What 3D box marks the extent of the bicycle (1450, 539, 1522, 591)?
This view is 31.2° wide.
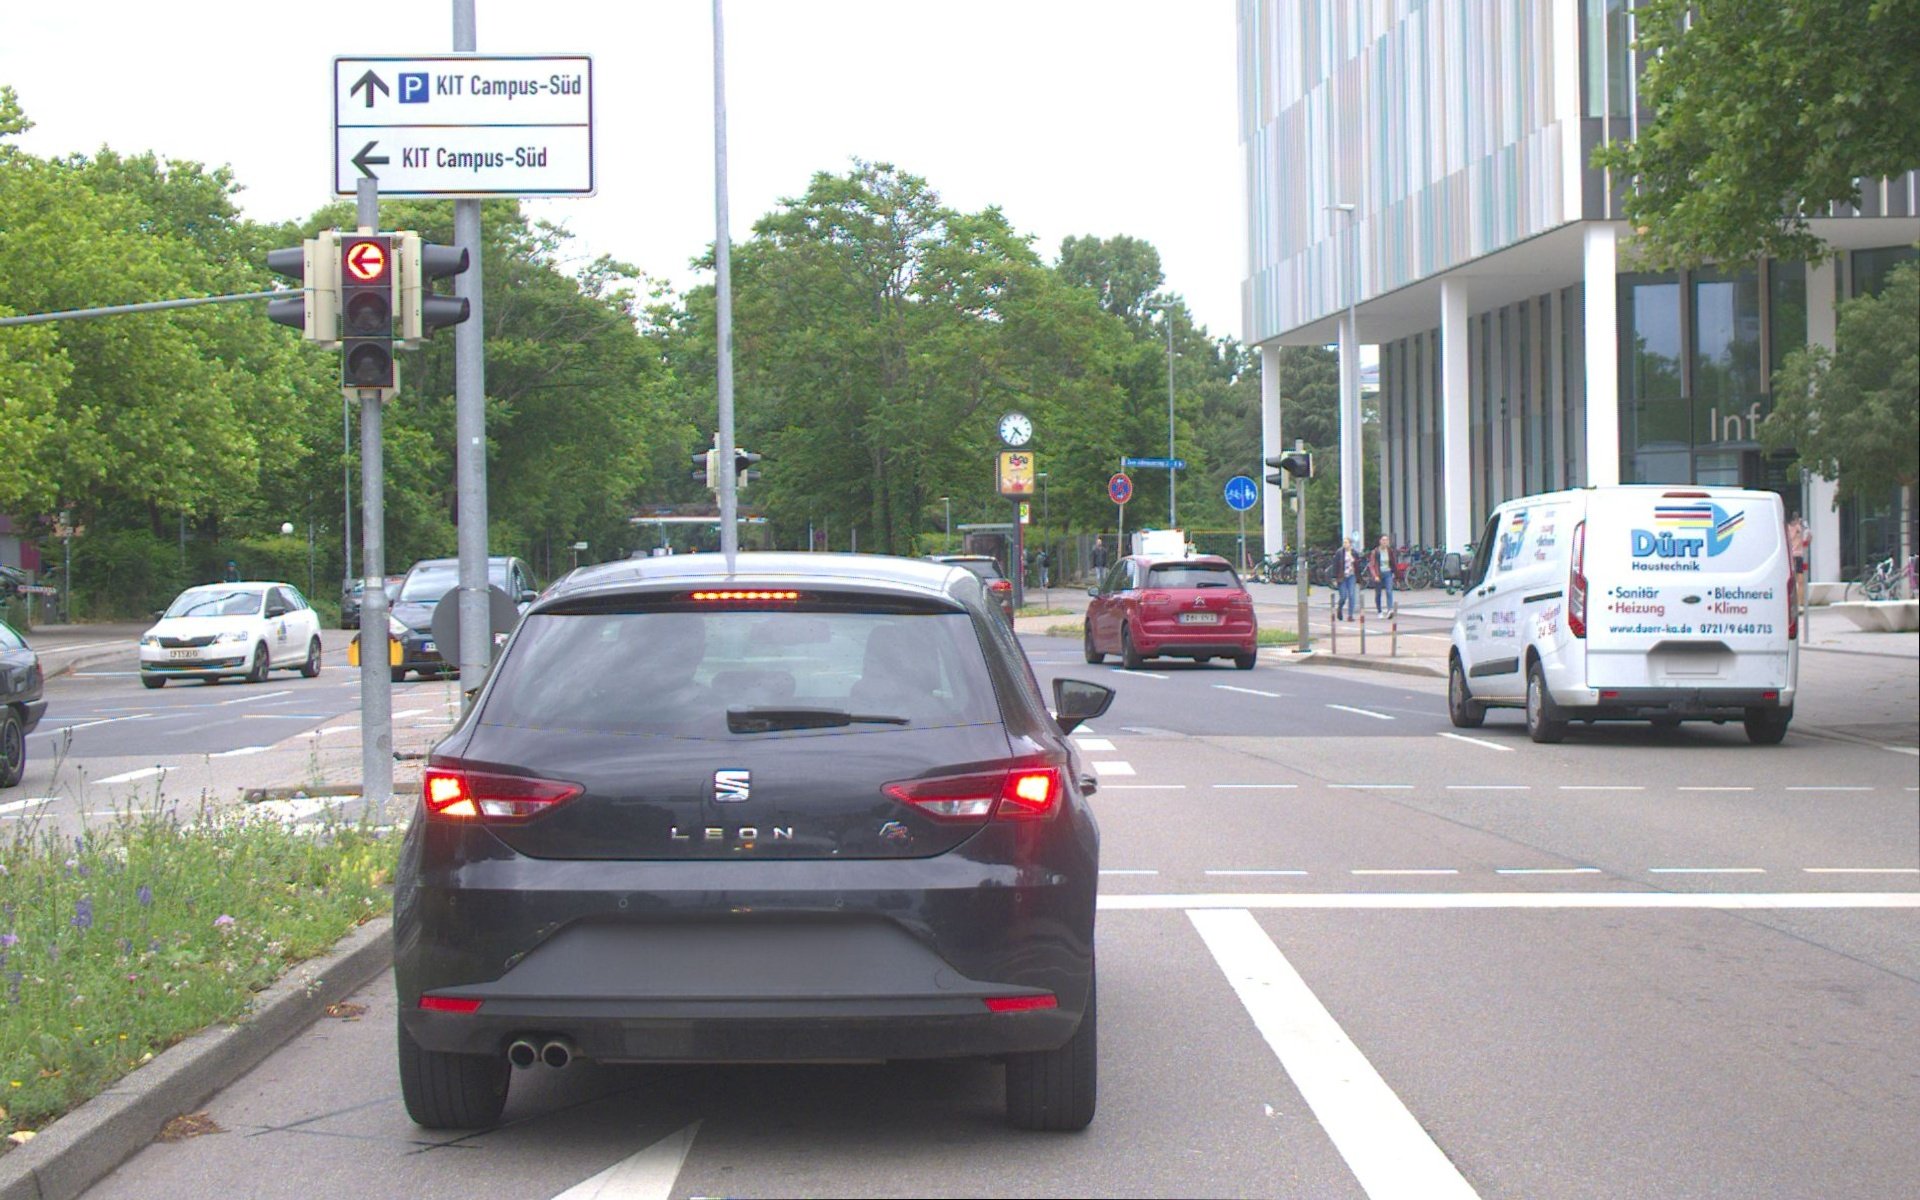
[{"bbox_3d":[12.901,-0.853,84.285,1.772,1.207,0.570,-3,1,-34],"label":"bicycle"}]

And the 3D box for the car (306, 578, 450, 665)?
[{"bbox_3d":[-10.574,0.362,62.715,1.714,1.413,4.294,-2,1,2],"label":"car"}]

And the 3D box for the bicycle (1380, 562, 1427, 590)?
[{"bbox_3d":[12.051,-0.654,93.442,1.240,0.703,0.489,-2,1,8],"label":"bicycle"}]

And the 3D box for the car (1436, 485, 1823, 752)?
[{"bbox_3d":[5.285,0.098,27.744,1.966,1.965,4.344,1,1,-4],"label":"car"}]

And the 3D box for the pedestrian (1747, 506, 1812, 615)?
[{"bbox_3d":[13.623,-0.663,57.164,0.847,1.759,0.768,-2,1,0],"label":"pedestrian"}]

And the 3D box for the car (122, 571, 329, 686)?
[{"bbox_3d":[-10.465,0.376,49.300,1.705,1.426,4.227,-2,1,5],"label":"car"}]

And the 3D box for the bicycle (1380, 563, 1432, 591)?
[{"bbox_3d":[12.010,-0.622,92.550,1.375,0.703,0.489,-2,1,8],"label":"bicycle"}]

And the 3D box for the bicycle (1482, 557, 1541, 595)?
[{"bbox_3d":[13.255,-0.575,82.580,1.438,0.855,0.365,-3,1,-27],"label":"bicycle"}]

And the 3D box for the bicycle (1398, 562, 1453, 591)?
[{"bbox_3d":[12.288,-0.627,90.752,1.374,0.703,0.416,-2,1,3],"label":"bicycle"}]

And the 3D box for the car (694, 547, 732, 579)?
[{"bbox_3d":[-12.448,-1.855,173.113,1.695,1.498,4.011,-2,1,-7],"label":"car"}]

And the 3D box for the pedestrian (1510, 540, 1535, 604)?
[{"bbox_3d":[12.317,-0.615,75.283,0.472,1.357,0.445,-2,1,10],"label":"pedestrian"}]

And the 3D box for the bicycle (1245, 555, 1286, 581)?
[{"bbox_3d":[10.280,-1.070,115.596,1.258,0.845,0.482,2,0,-22],"label":"bicycle"}]

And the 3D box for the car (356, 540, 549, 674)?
[{"bbox_3d":[-6.866,0.075,46.926,1.921,1.659,4.399,-3,0,0],"label":"car"}]

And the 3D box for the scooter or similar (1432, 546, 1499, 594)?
[{"bbox_3d":[12.489,-0.734,84.866,1.671,1.103,0.499,-3,1,-32],"label":"scooter or similar"}]

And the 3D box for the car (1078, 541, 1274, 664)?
[{"bbox_3d":[2.984,0.008,48.271,1.948,1.618,3.750,0,2,-9],"label":"car"}]

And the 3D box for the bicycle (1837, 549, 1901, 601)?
[{"bbox_3d":[17.959,-0.491,67.901,0.696,0.943,1.981,-2,2,30],"label":"bicycle"}]

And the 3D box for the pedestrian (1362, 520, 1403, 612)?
[{"bbox_3d":[8.216,-0.666,66.876,0.687,1.775,0.677,-1,1,0],"label":"pedestrian"}]

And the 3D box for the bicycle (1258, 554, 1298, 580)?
[{"bbox_3d":[10.497,-1.085,113.425,1.234,0.820,0.482,1,0,-22],"label":"bicycle"}]

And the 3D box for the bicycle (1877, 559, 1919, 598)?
[{"bbox_3d":[18.588,-0.423,67.201,1.522,0.714,0.519,-4,2,-43],"label":"bicycle"}]

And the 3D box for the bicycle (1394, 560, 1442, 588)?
[{"bbox_3d":[12.529,-0.703,94.121,1.273,0.703,0.485,-2,1,7],"label":"bicycle"}]

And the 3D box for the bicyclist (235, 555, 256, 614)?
[{"bbox_3d":[-20.064,-0.433,96.484,0.491,1.619,0.588,1,2,-4],"label":"bicyclist"}]

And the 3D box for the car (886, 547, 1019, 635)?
[{"bbox_3d":[-0.193,-0.218,70.314,1.914,1.658,4.116,-3,1,-11],"label":"car"}]

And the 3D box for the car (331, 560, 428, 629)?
[{"bbox_3d":[-15.652,-0.170,92.930,1.906,1.711,4.000,-2,1,0],"label":"car"}]

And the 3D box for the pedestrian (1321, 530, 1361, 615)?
[{"bbox_3d":[7.395,-0.535,66.790,0.687,1.634,0.633,0,1,0],"label":"pedestrian"}]

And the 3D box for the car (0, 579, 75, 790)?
[{"bbox_3d":[-7.573,0.632,23.255,1.764,1.455,4.791,-3,0,1],"label":"car"}]

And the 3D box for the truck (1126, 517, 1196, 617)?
[{"bbox_3d":[4.671,-0.795,80.206,1.317,2.235,3.402,-2,1,-1],"label":"truck"}]

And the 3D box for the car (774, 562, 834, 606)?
[{"bbox_3d":[-5.330,-0.542,116.849,1.898,1.349,3.883,-2,1,-4],"label":"car"}]

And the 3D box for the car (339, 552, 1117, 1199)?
[{"bbox_3d":[-0.462,0.597,9.642,1.753,1.427,3.769,1,1,2],"label":"car"}]

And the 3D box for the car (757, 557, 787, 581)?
[{"bbox_3d":[-9.939,-1.658,181.945,1.505,1.189,3.163,-2,1,-4],"label":"car"}]
